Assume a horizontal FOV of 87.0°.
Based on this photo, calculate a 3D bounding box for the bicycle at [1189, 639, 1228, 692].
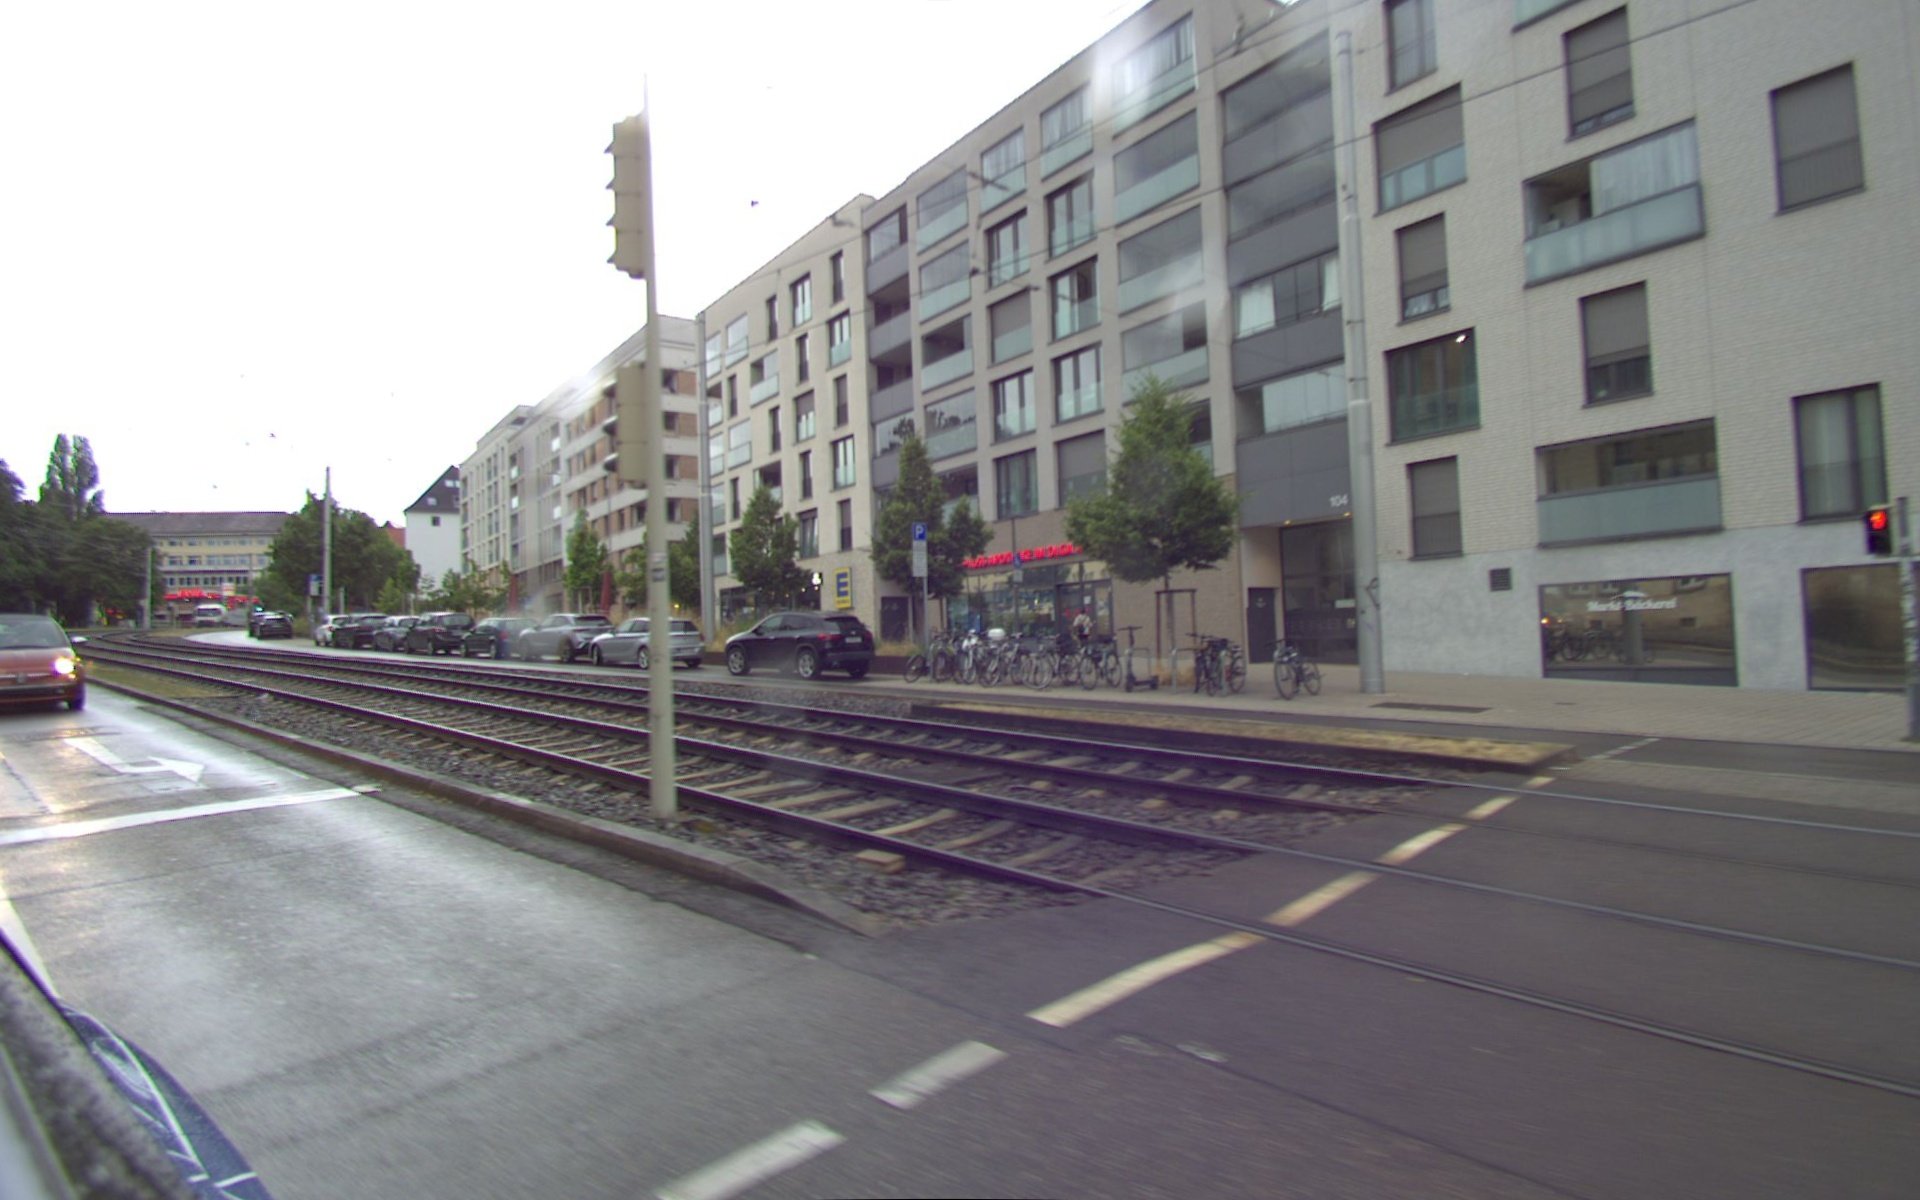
[{"bbox_3d":[4.887,1.261,19.841,0.385,0.924,1.774,-1,0,25],"label":"bicycle"}]

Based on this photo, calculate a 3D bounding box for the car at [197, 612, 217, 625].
[{"bbox_3d":[-94.751,2.298,127.337,1.641,1.619,3.819,-2,1,-32],"label":"car"}]

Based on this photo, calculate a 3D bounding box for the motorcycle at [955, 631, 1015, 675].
[{"bbox_3d":[0.644,1.317,25.576,0.542,1.050,1.741,1,-1,39],"label":"motorcycle"}]

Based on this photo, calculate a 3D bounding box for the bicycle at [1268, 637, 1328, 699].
[{"bbox_3d":[6.095,1.189,18.181,0.440,0.988,1.766,-1,0,38],"label":"bicycle"}]

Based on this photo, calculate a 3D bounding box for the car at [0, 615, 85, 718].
[{"bbox_3d":[-15.446,1.022,16.300,3.669,1.475,1.573,-1,1,42],"label":"car"}]

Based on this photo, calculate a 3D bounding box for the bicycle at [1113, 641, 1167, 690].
[{"bbox_3d":[3.624,1.292,20.321,0.386,0.925,1.768,-1,-2,34],"label":"bicycle"}]

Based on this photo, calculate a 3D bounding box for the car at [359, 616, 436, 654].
[{"bbox_3d":[-23.880,1.469,42.910,3.927,1.516,1.662,-1,0,42],"label":"car"}]

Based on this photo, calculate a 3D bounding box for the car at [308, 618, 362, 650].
[{"bbox_3d":[-30.760,1.644,49.770,1.626,1.516,3.785,-1,0,-42],"label":"car"}]

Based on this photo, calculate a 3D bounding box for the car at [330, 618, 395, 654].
[{"bbox_3d":[-27.235,1.592,46.087,1.660,1.516,4.410,-1,0,-43],"label":"car"}]

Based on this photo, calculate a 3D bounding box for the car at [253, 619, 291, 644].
[{"bbox_3d":[-43.433,1.968,63.876,1.629,1.475,3.677,-2,1,-39],"label":"car"}]

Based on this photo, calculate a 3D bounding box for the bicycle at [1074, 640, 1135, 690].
[{"bbox_3d":[2.981,1.308,20.742,0.387,0.924,1.766,-1,0,38],"label":"bicycle"}]

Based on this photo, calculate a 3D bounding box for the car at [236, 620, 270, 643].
[{"bbox_3d":[-49.089,2.150,70.246,1.629,1.475,3.677,-2,1,-39],"label":"car"}]

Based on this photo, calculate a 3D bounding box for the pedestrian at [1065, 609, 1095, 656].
[{"bbox_3d":[3.877,1.043,32.712,0.532,1.460,0.805,-2,1,-35],"label":"pedestrian"}]

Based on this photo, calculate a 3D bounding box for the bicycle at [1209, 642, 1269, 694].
[{"bbox_3d":[5.300,1.266,19.175,0.387,0.883,1.765,-1,0,40],"label":"bicycle"}]

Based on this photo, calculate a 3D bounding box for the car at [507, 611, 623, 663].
[{"bbox_3d":[-12.839,1.170,32.811,4.044,1.541,1.664,-1,0,38],"label":"car"}]

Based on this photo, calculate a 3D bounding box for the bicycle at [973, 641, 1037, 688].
[{"bbox_3d":[0.974,1.344,21.452,0.387,0.924,1.766,-1,-1,38],"label":"bicycle"}]

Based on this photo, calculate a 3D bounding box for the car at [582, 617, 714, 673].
[{"bbox_3d":[-9.124,1.262,29.410,4.328,1.475,1.662,-1,0,42],"label":"car"}]

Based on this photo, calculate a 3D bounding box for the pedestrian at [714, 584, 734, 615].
[{"bbox_3d":[-11.243,-0.040,48.227,0.647,1.460,0.805,-2,1,-35],"label":"pedestrian"}]

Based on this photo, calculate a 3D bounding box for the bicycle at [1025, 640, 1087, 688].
[{"bbox_3d":[2.030,1.325,21.224,0.387,0.924,1.766,-1,-1,38],"label":"bicycle"}]

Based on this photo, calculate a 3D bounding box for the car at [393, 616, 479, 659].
[{"bbox_3d":[-20.232,1.417,39.029,3.927,1.575,1.662,-1,0,42],"label":"car"}]

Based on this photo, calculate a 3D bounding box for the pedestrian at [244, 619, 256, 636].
[{"bbox_3d":[-79.403,3.081,113.134,0.805,1.777,0.750,1,-3,-8],"label":"pedestrian"}]

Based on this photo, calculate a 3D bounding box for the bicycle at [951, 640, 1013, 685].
[{"bbox_3d":[0.509,1.373,22.606,0.387,0.924,1.766,-1,-1,38],"label":"bicycle"}]

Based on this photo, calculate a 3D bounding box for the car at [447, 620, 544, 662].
[{"bbox_3d":[-16.452,1.410,35.765,4.032,1.391,1.662,-1,0,42],"label":"car"}]

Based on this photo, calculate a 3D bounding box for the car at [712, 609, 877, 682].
[{"bbox_3d":[-4.126,1.059,24.865,4.328,1.616,1.662,-1,0,42],"label":"car"}]

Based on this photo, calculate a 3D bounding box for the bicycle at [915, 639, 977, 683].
[{"bbox_3d":[-0.299,1.370,23.134,0.387,0.924,1.766,-1,-1,38],"label":"bicycle"}]
